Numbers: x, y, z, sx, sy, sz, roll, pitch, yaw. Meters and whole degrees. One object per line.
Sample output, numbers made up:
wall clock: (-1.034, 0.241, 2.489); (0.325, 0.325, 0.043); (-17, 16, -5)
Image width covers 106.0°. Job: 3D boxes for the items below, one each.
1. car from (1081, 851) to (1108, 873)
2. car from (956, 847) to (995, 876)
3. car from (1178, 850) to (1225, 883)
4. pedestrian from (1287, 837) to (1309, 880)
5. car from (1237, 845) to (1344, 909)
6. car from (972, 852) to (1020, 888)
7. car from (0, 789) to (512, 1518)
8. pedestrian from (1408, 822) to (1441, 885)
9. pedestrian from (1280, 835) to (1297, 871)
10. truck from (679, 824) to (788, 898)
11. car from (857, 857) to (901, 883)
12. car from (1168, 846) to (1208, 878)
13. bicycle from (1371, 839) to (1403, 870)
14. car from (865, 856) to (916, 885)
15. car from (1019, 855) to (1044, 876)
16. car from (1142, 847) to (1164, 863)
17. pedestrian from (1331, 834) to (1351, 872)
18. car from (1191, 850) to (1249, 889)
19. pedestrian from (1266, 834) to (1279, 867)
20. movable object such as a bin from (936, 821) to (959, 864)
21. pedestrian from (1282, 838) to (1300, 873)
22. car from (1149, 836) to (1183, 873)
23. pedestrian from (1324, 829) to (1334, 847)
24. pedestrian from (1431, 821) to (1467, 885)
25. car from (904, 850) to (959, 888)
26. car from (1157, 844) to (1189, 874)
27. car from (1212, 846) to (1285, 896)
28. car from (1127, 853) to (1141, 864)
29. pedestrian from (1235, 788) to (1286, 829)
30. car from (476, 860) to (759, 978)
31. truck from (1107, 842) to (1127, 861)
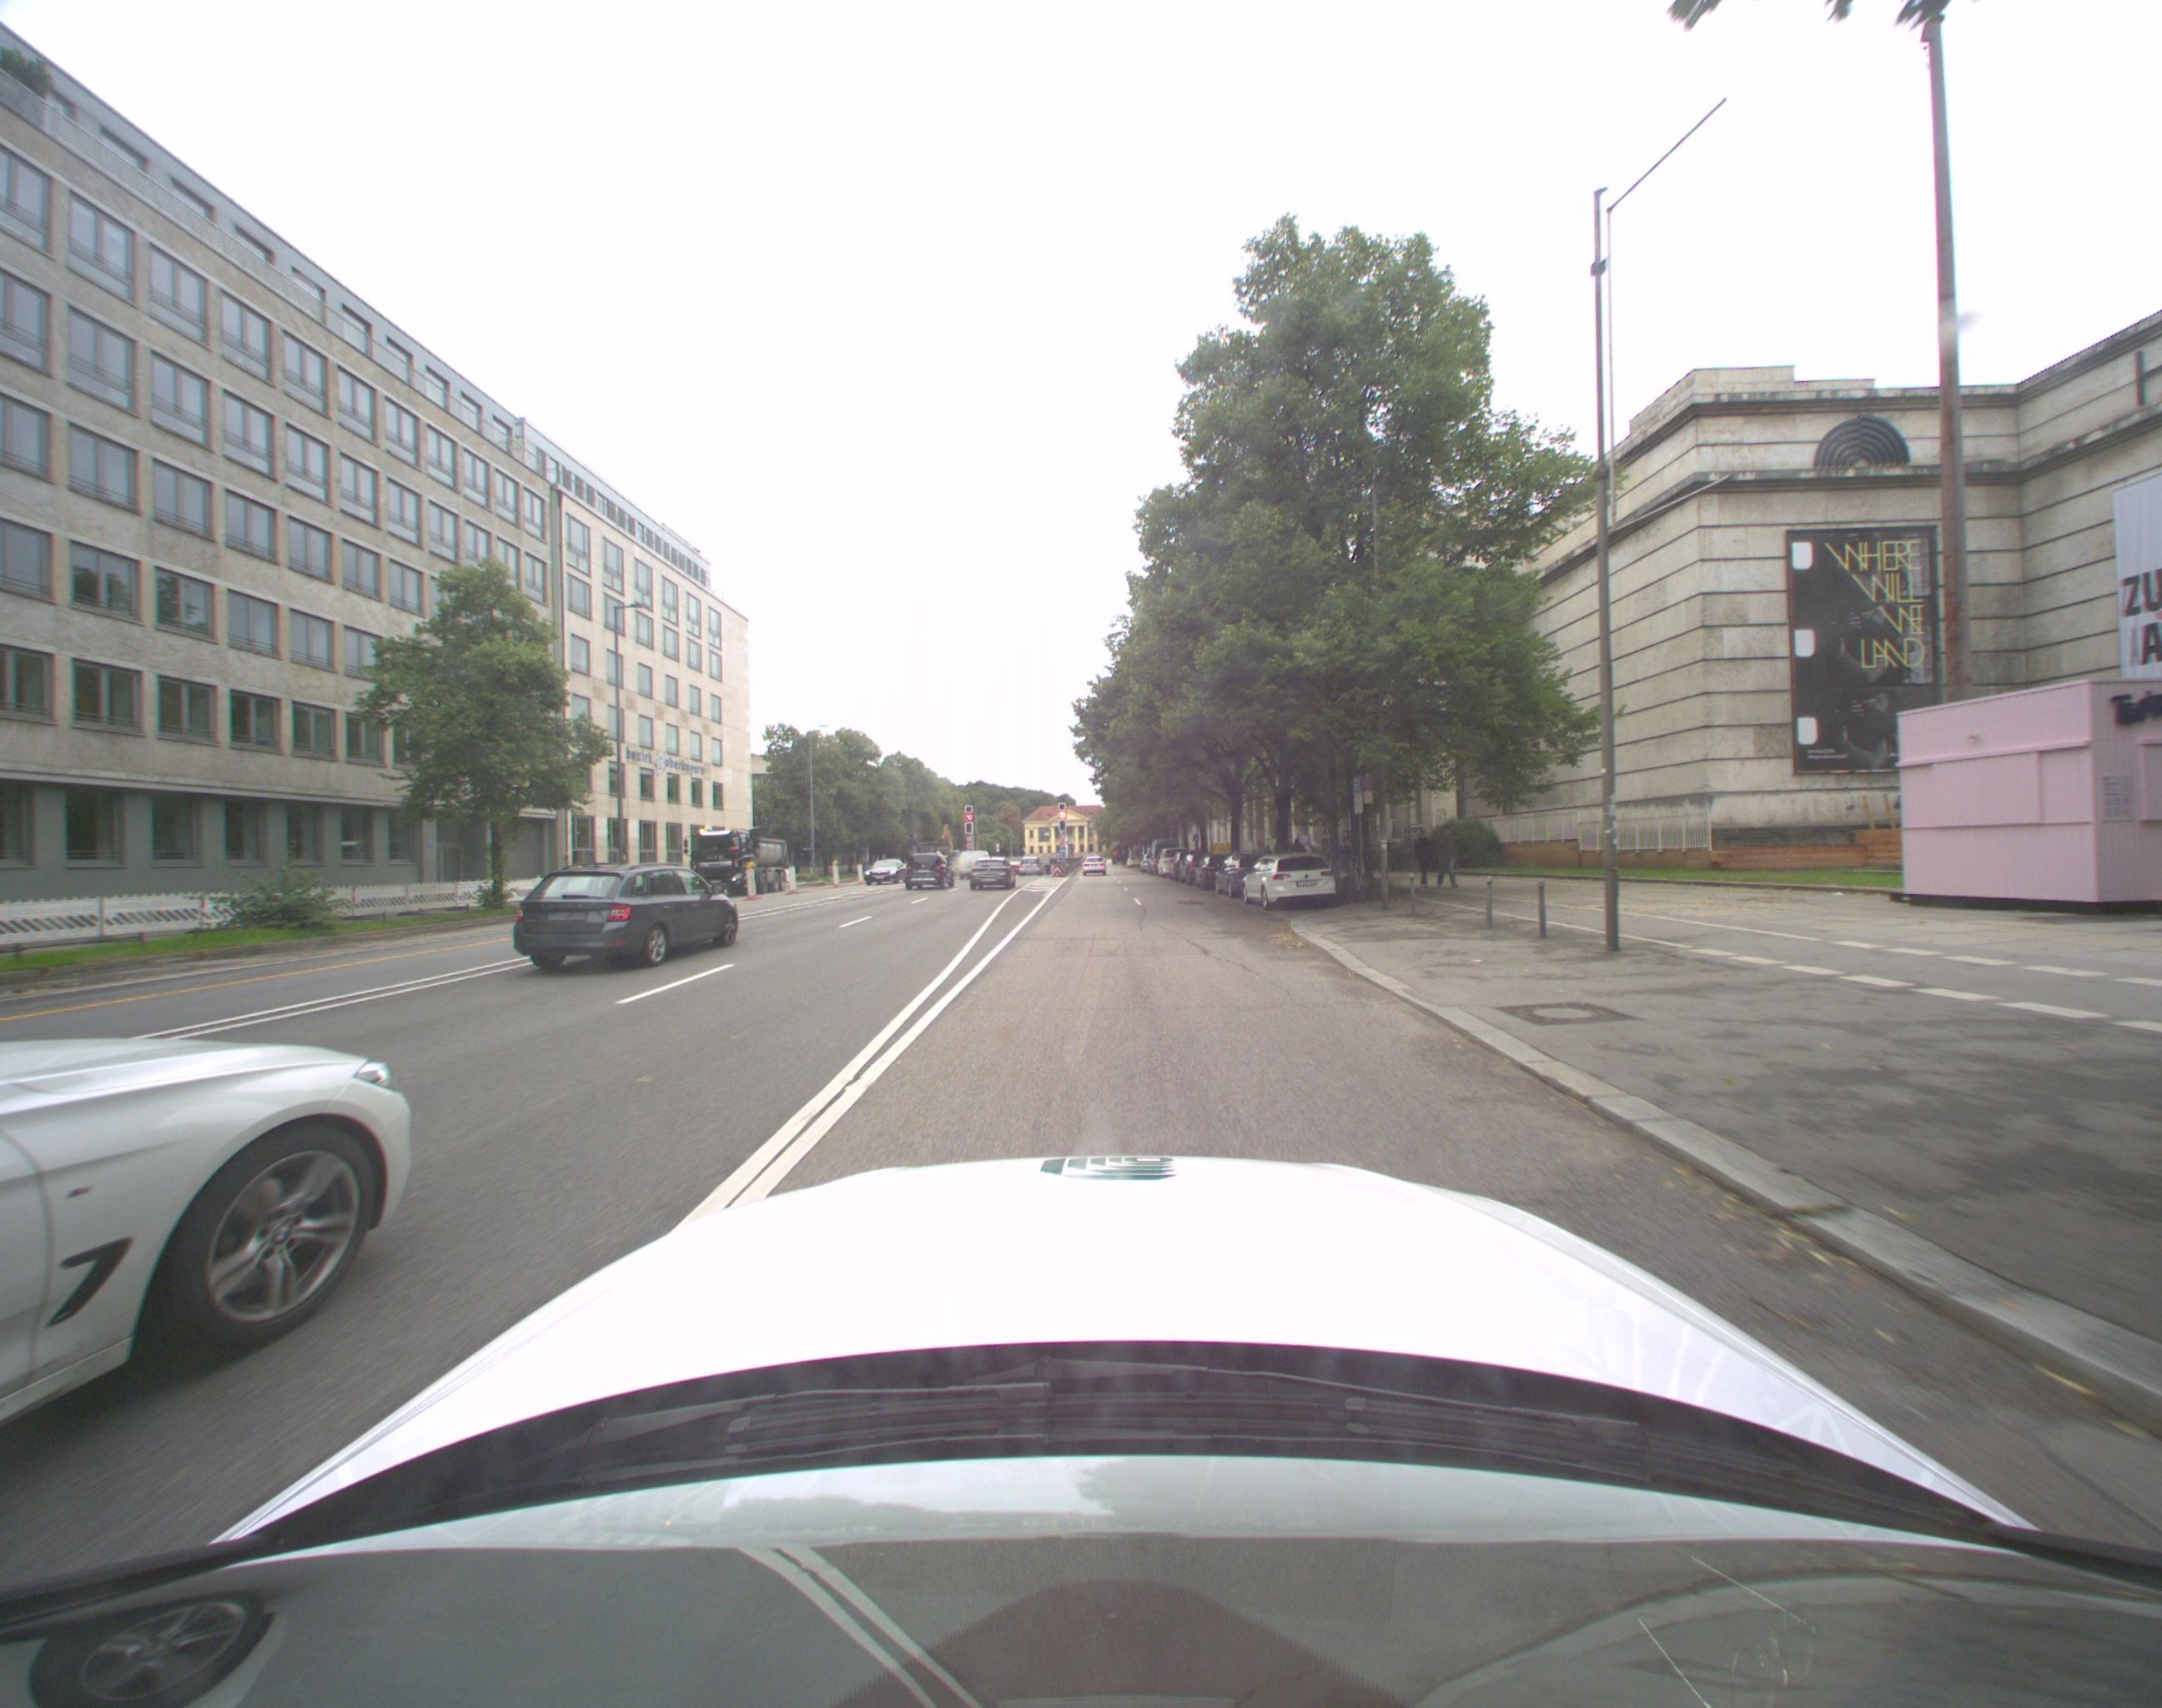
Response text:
car: (1.013, 0.592, 63.324); (1.776, 1.644, 3.994); (0, 0, -4)
car: (-7.216, 0.502, 56.129); (1.892, 1.847, 4.955); (-2, 0, 0)
car: (5.878, 0.587, 40.225); (1.816, 1.464, 4.029); (-2, 0, 2)
pedestrian: (9.801, 0.194, 36.778); (0.776, 1.910, 0.771); (0, 0, 1)
car: (5.674, 0.572, 22.664); (1.821, 1.549, 4.753); (-2, 0, 2)
car: (-3.852, 0.676, 37.339); (1.704, 1.552, 4.000); (0, 0, 1)
car: (-3.346, 0.692, 0.926); (1.787, 1.636, 5.026); (-2, 0, 0)
pedestrian: (10.564, -0.025, 25.088); (0.696, 1.910, 0.771); (0, 0, 1)
pedestrian: (11.222, -0.042, 44.070); (0.776, 1.910, 0.771); (0, 0, 1)
truck: (-17.432, 0.288, 41.577); (2.838, 3.357, 8.742); (0, 0, -7)
car: (-13.645, 1.044, 55.222); (1.988, 1.596, 3.997); (-2, 0, -2)
car: (5.975, 0.416, 45.867); (1.718, 1.665, 4.591); (-2, 0, 2)
bicycle: (14.859, 0.028, 39.639); (0.697, 1.415, 2.299); (-2, 0, 1)
car: (-11.459, 0.992, 49.202); (1.986, 1.596, 4.002); (-2, 0, 2)
car: (-4.052, 0.886, 66.918); (1.773, 1.654, 4.000); (0, 0, 0)
car: (6.398, 0.117, 72.640); (1.718, 1.324, 4.029); (-2, 0, 2)
pedestrian: (13.104, -0.046, 41.064); (0.776, 1.910, 0.771); (0, 0, 1)
car: (5.779, 0.596, 34.415); (1.718, 1.464, 4.777); (-2, 0, 2)
pedestrian: (11.148, -0.210, 47.450); (0.640, 1.910, 0.682); (0, 0, 1)
movable object such as a bin: (-20.934, -1.769, 127.665); (2.690, 6.510, 5.177); (0, 0, 1)
pedestrian: (11.600, 0.085, 45.045); (0.776, 1.910, 0.771); (0, 0, 1)
car: (6.277, 0.060, 60.706); (1.987, 2.643, 4.876); (0, 0, 0)
pedestrian: (18.689, -1.187, 61.354); (0.564, 1.373, 0.646); (0, 0, 1)
pedestrian: (11.282, -0.029, 24.962); (0.761, 1.910, 0.771); (0, 0, 1)
car: (-6.950, 0.686, 38.255); (1.717, 1.636, 4.205); (-2, 0, 0)
car: (6.004, 0.326, 53.748); (1.718, 1.867, 4.029); (-2, 0, 2)
car: (5.778, 0.560, 28.642); (1.718, 1.549, 4.587); (-2, 0, 2)
car: (7.012, 0.578, 107.484); (1.718, 1.324, 4.029); (-2, 0, 2)
pedestrian: (9.781, -2.466, 44.582); (1.986, 2.013, 4.001); (0, 0, 1)
car: (-6.816, 0.853, 12.615); (1.786, 1.447, 4.277); (-2, 0, 2)
truck: (6.337, -0.424, 144.524); (3.313, 3.367, 8.664); (0, 0, 1)
